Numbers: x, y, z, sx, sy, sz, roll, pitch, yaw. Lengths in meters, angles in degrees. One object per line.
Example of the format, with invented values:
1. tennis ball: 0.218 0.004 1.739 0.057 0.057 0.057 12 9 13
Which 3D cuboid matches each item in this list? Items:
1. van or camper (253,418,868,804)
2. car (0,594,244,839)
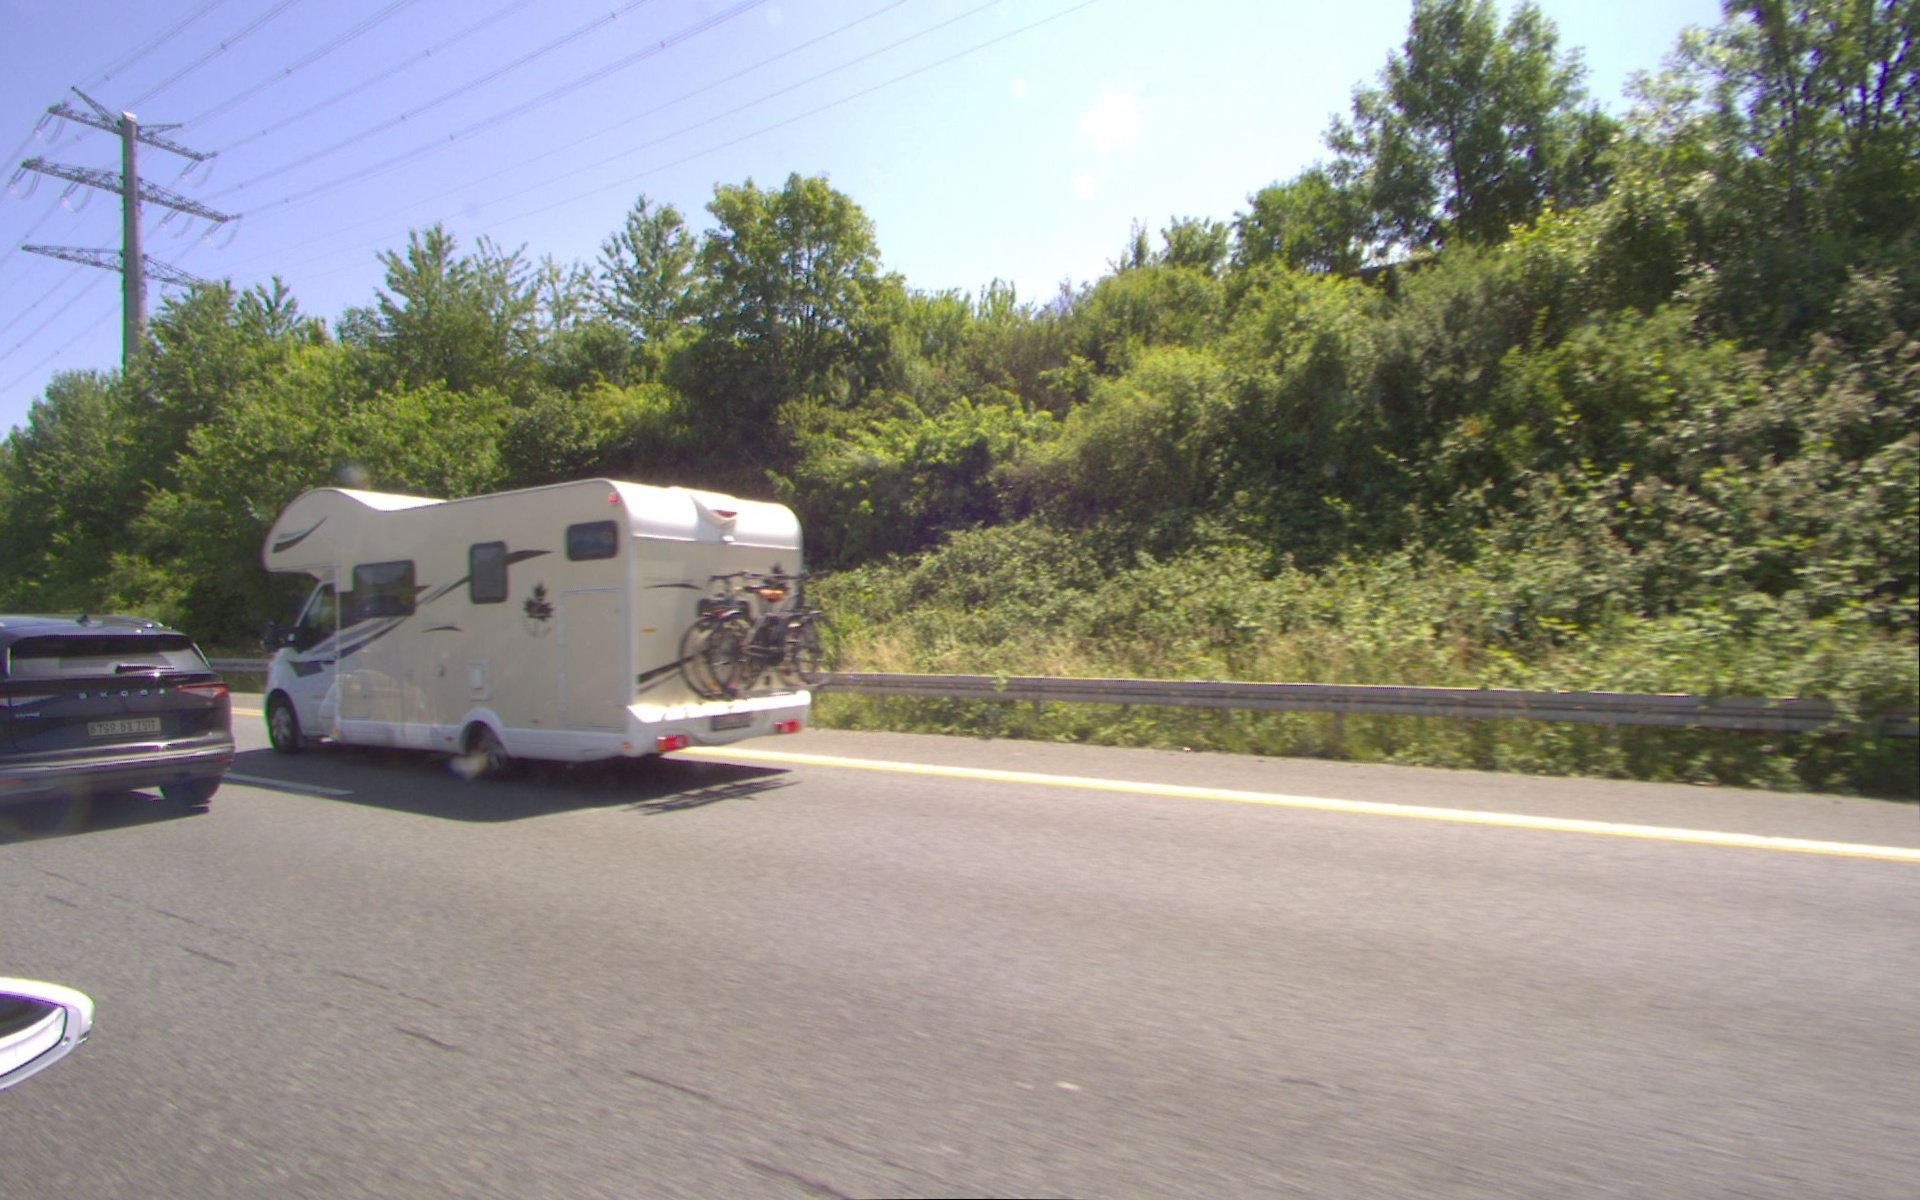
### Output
1. van or camper: -4.713 0.204 11.040 7.525 3.082 2.365 -1 -2 33
2. car: -8.134 0.868 8.552 4.365 1.676 1.699 -1 -2 31
